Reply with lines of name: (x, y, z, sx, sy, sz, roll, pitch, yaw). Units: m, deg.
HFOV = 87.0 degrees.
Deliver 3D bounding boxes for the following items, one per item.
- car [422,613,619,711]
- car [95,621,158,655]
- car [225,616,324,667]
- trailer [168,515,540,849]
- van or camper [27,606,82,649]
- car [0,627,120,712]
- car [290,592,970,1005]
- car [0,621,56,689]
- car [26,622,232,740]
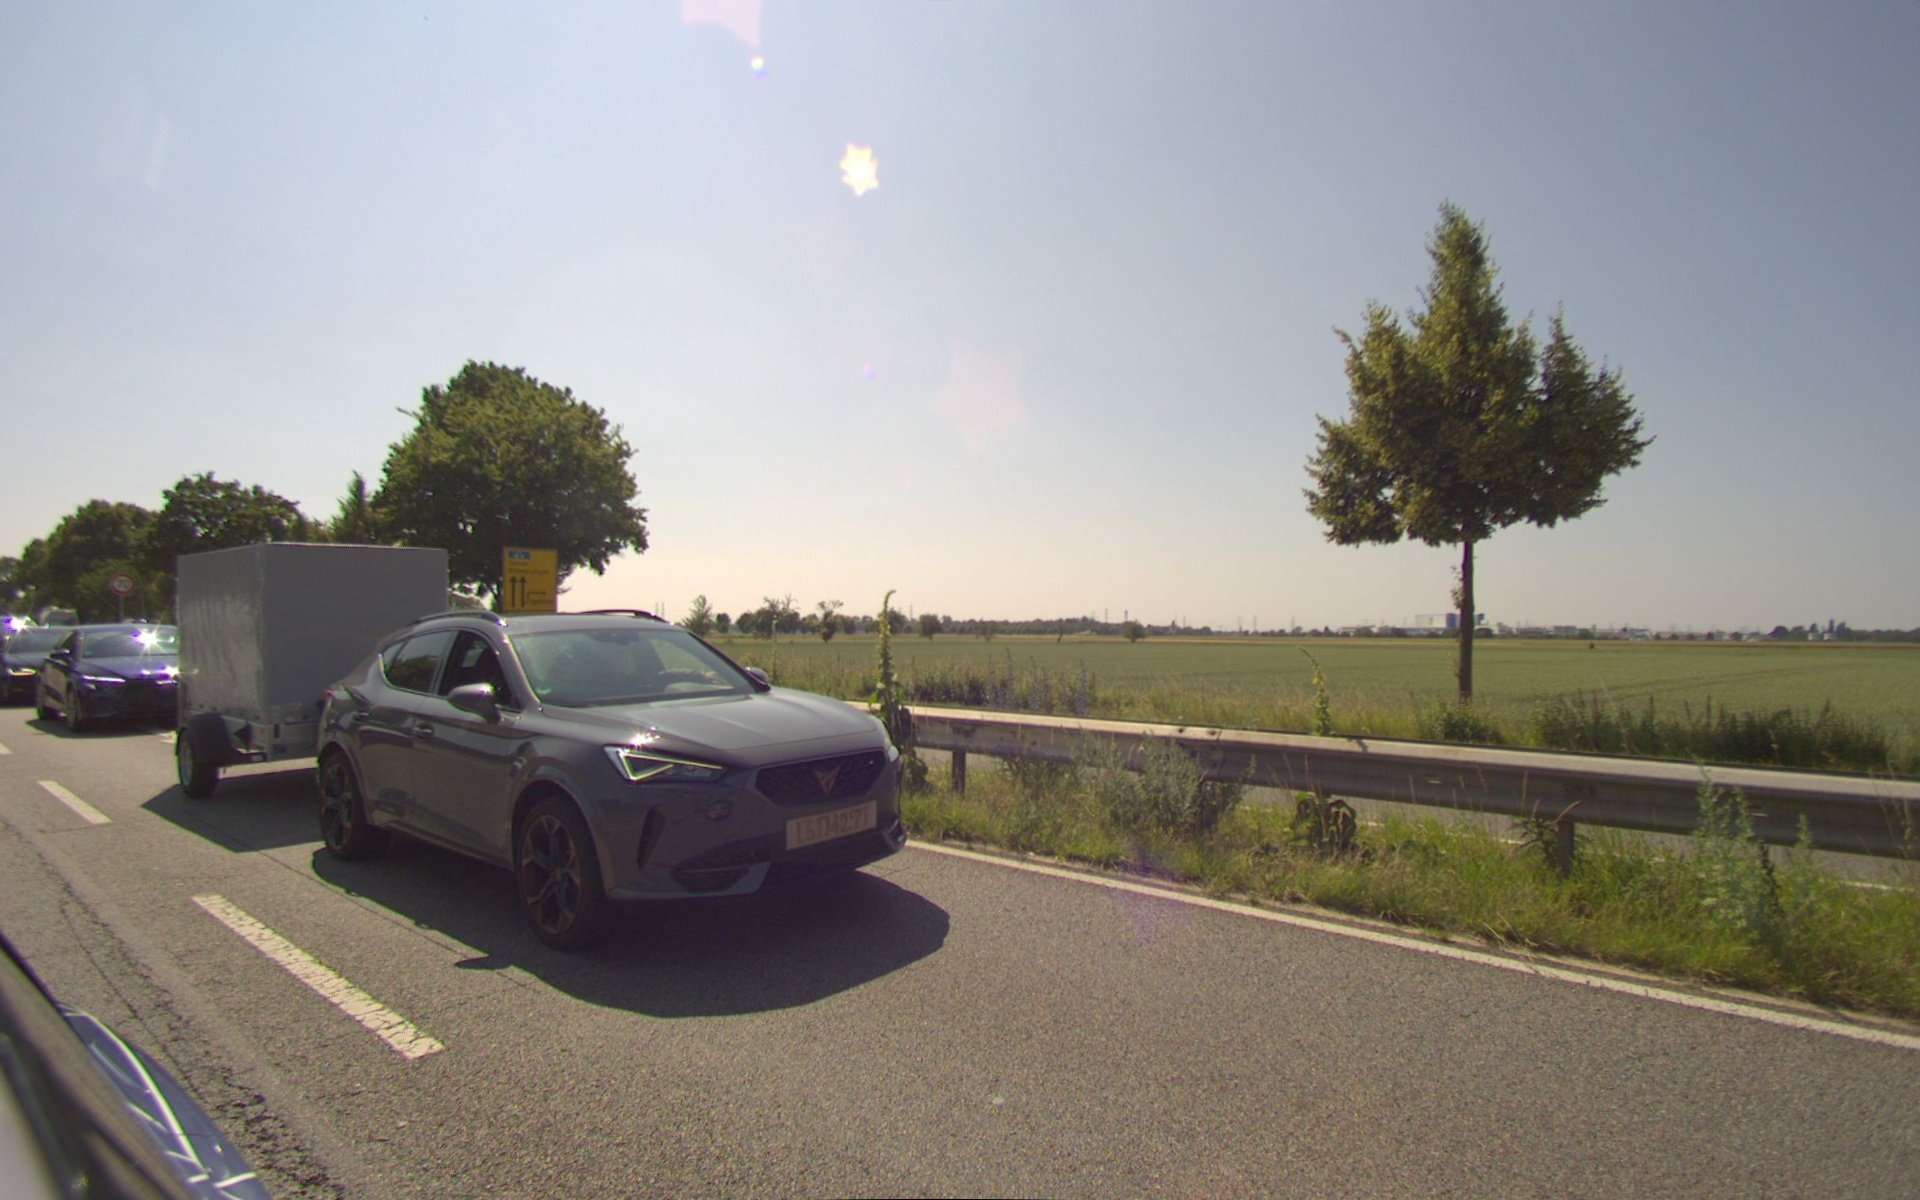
car: (-8.352, 1.118, 19.084, 4.132, 1.651, 1.728, -2, -3, 40)
car: (-46.696, 2.117, 56.677, 4.693, 1.870, 1.838, -2, -3, 40)
car: (-27.412, 1.641, 40.412, 5.012, 1.945, 1.973, -2, -3, 40)
trailer: (-5.287, 0.582, 8.577, 4.172, 2.190, 1.485, -2, -1, 41)
van or camper: (-68.497, 2.079, 76.544, 5.690, 3.123, 2.240, -2, -3, 40)
car: (-17.449, 1.236, 19.157, 4.453, 1.391, 1.722, -1, -1, 42)
car: (-2.162, 0.778, 5.816, 4.360, 1.514, 1.727, -2, -1, 41)
car: (-23.273, 1.289, 24.355, 4.099, 1.527, 1.836, -1, -1, 42)
car: (-12.194, 1.075, 14.765, 4.028, 1.476, 1.699, -1, -1, 41)
